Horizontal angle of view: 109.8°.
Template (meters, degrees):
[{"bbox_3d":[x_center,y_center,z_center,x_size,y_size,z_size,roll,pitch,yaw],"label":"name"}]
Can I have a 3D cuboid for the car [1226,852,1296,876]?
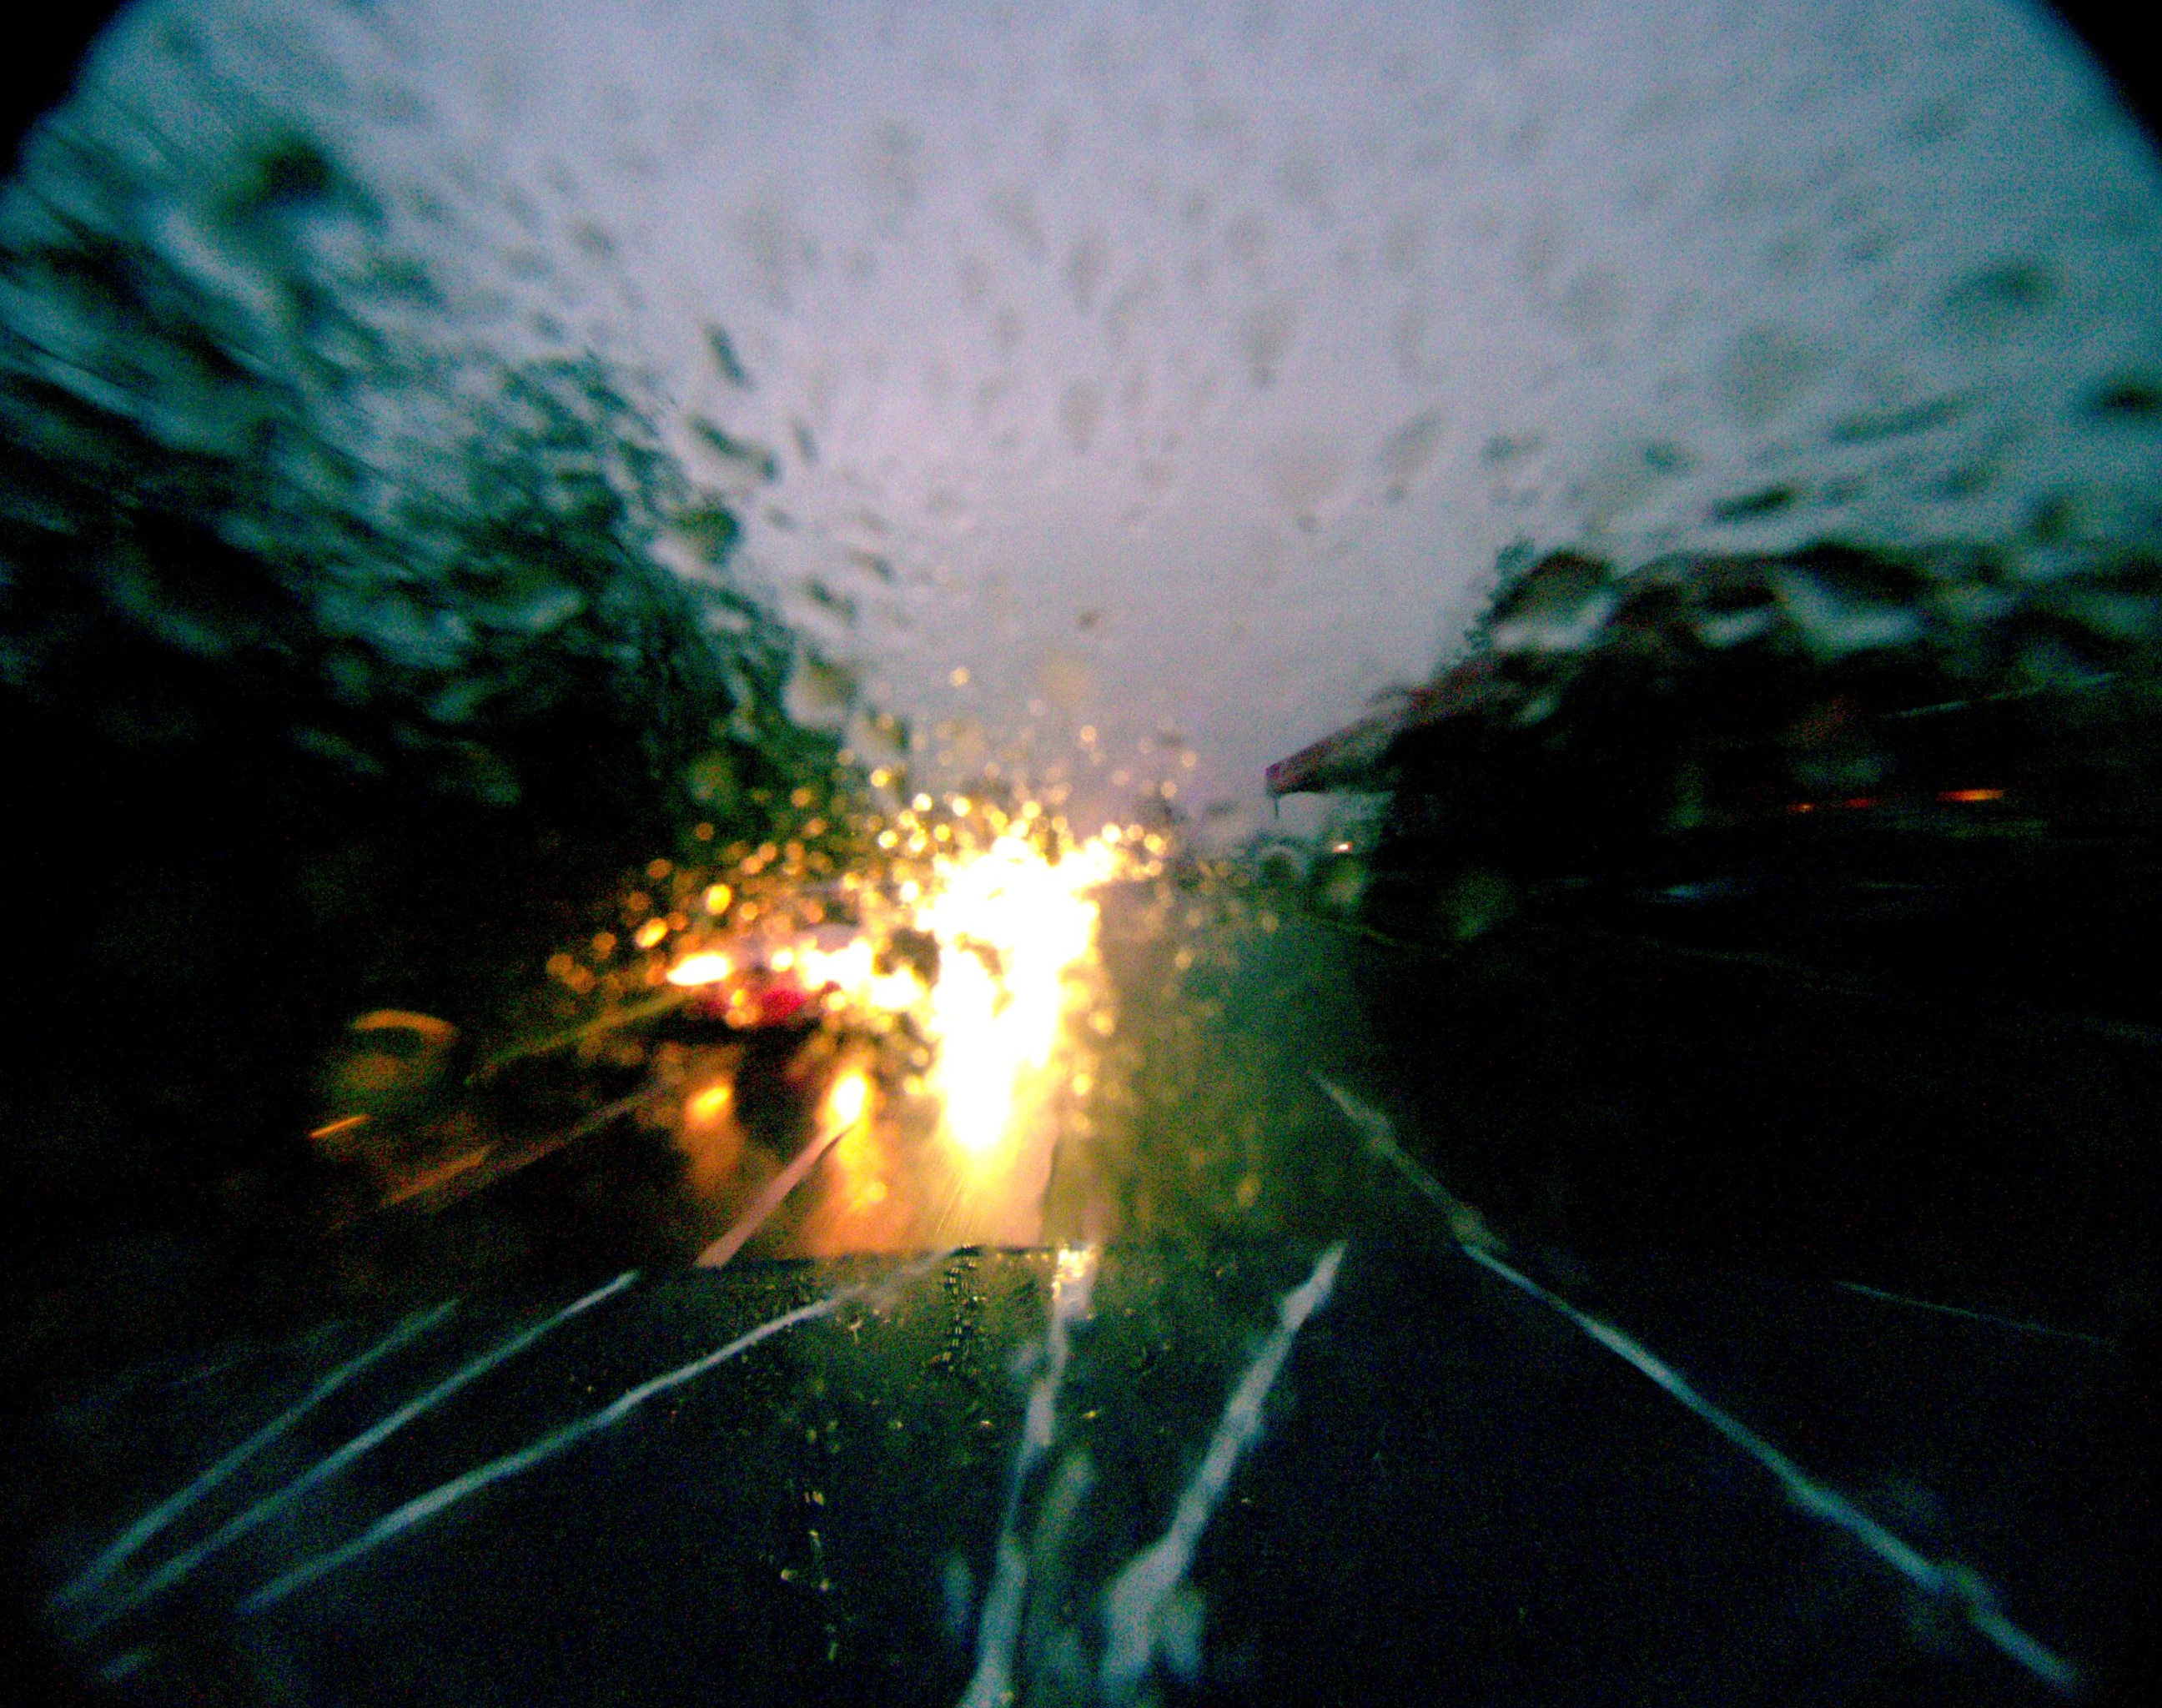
[{"bbox_3d":[11.240,0.612,47.628,3.868,1.338,1.840,-3,0,0],"label":"car"}]

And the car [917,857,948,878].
[{"bbox_3d":[-14.004,1.246,71.957,1.998,1.848,4.298,0,0,0],"label":"car"}]

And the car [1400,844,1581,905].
[{"bbox_3d":[10.892,0.528,20.418,3.868,1.433,1.840,-2,0,0],"label":"car"}]

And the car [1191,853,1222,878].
[{"bbox_3d":[8.046,0.710,49.048,1.522,1.534,3.015,0,0,0],"label":"car"}]

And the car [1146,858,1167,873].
[{"bbox_3d":[7.462,1.092,75.353,1.574,1.314,4.255,0,1,-1],"label":"car"}]

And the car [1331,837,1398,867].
[{"bbox_3d":[20.281,-0.131,54.467,3.997,1.911,1.959,-2,0,1],"label":"car"}]

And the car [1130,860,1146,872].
[{"bbox_3d":[6.957,1.459,92.841,1.655,1.411,3.744,-1,-2,1],"label":"car"}]

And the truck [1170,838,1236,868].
[{"bbox_3d":[13.539,-0.051,84.303,6.877,3.123,2.334,-1,0,-1],"label":"truck"}]

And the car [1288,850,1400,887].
[{"bbox_3d":[10.659,0.568,30.987,3.868,1.338,1.840,-2,0,0],"label":"car"}]

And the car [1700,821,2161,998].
[{"bbox_3d":[10.538,0.596,9.230,4.287,1.653,2.000,-4,0,1],"label":"car"}]

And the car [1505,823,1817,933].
[{"bbox_3d":[10.802,0.422,14.427,4.287,1.653,2.000,-4,0,1],"label":"car"}]

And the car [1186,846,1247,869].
[{"bbox_3d":[11.094,0.299,62.384,4.547,1.666,2.010,-2,0,-3],"label":"car"}]

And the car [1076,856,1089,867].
[{"bbox_3d":[0.254,1.194,117.039,1.890,1.618,4.000,-2,0,-1],"label":"car"}]

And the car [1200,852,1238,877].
[{"bbox_3d":[8.114,0.592,44.955,1.686,1.412,3.741,-1,0,3],"label":"car"}]

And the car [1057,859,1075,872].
[{"bbox_3d":[-1.882,1.332,92.236,2.016,1.484,3.999,-1,0,-4],"label":"car"}]

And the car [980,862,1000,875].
[{"bbox_3d":[-9.772,1.522,81.504,1.576,1.388,4.169,0,0,0],"label":"car"}]

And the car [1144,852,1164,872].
[{"bbox_3d":[7.711,0.809,81.041,1.839,2.001,4.485,-2,0,3],"label":"car"}]

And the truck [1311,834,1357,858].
[{"bbox_3d":[30.763,-0.930,92.536,4.726,2.681,2.232,-2,0,-13],"label":"truck"}]

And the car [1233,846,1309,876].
[{"bbox_3d":[11.274,0.428,45.229,4.056,1.640,1.942,-1,0,3],"label":"car"}]

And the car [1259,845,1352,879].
[{"bbox_3d":[10.729,0.395,36.551,3.868,1.401,1.944,-3,0,0],"label":"car"}]

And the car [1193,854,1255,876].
[{"bbox_3d":[10.759,0.826,57.445,4.346,1.489,1.826,-2,0,1],"label":"car"}]

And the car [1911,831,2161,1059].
[{"bbox_3d":[10.491,0.619,6.517,4.287,1.653,2.137,-4,0,1],"label":"car"}]

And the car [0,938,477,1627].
[{"bbox_3d":[-3.423,1.112,1.019,1.706,1.463,4.272,-2,0,1],"label":"car"}]

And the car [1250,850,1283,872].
[{"bbox_3d":[14.883,0.559,61.064,1.673,1.666,3.706,-1,0,-1],"label":"car"}]

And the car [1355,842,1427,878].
[{"bbox_3d":[14.956,0.301,36.845,1.872,1.545,4.045,-3,-1,2],"label":"car"}]

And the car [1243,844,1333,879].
[{"bbox_3d":[10.593,0.386,39.041,4.041,1.545,1.824,-3,-1,0],"label":"car"}]

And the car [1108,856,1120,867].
[{"bbox_3d":[4.839,1.069,110.789,1.607,1.525,4.000,0,0,0],"label":"car"}]

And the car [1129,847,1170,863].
[{"bbox_3d":[8.832,0.131,98.029,5.159,2.137,2.059,0,0,1],"label":"car"}]

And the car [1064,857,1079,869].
[{"bbox_3d":[-1.328,1.224,104.045,1.889,1.618,4.000,-2,0,1],"label":"car"}]

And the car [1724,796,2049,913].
[{"bbox_3d":[14.759,0.005,14.322,1.891,1.858,4.000,-1,0,0],"label":"car"}]

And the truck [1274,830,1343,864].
[{"bbox_3d":[32.022,-0.938,107.089,8.714,4.236,3.004,-3,1,-10],"label":"truck"}]

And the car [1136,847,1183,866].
[{"bbox_3d":[10.568,0.350,102.849,6.171,2.616,2.176,0,0,1],"label":"car"}]

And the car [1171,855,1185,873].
[{"bbox_3d":[9.161,0.931,71.445,1.174,1.634,2.872,-1,0,9],"label":"car"}]

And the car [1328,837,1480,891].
[{"bbox_3d":[10.838,0.333,25.745,4.291,1.647,1.980,-2,0,0],"label":"car"}]

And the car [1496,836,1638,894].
[{"bbox_3d":[15.309,0.327,24.255,1.893,1.647,4.148,-2,0,1],"label":"car"}]

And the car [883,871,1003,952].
[{"bbox_3d":[-2.877,1.151,16.844,1.645,1.358,4.769,-2,0,1],"label":"car"}]

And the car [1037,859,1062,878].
[{"bbox_3d":[-2.674,1.210,63.917,2.016,1.484,3.999,-2,0,-4],"label":"car"}]

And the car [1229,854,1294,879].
[{"bbox_3d":[11.828,0.833,49.982,3.782,1.451,1.776,-3,0,-2],"label":"car"}]

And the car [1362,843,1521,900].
[{"bbox_3d":[10.780,0.506,22.917,3.868,1.550,1.840,-2,0,0],"label":"car"}]

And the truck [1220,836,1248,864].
[{"bbox_3d":[19.464,-0.445,96.736,2.036,3.434,5.851,1,-1,-3],"label":"truck"}]

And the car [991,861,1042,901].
[{"bbox_3d":[-2.741,1.125,33.260,1.712,1.566,4.464,-1,0,1],"label":"car"}]

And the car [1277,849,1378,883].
[{"bbox_3d":[10.949,0.523,33.950,3.868,1.397,1.840,-2,0,0],"label":"car"}]

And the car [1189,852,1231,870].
[{"bbox_3d":[13.831,0.729,81.494,4.060,1.722,2.024,-2,0,-3],"label":"car"}]

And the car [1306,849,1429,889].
[{"bbox_3d":[10.606,0.552,28.329,3.868,1.338,1.840,-2,0,0],"label":"car"}]

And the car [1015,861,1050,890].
[{"bbox_3d":[-2.713,1.179,43.285,1.569,1.520,4.007,-2,0,1],"label":"car"}]

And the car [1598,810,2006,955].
[{"bbox_3d":[10.862,0.410,11.739,4.287,1.753,2.000,-4,0,1],"label":"car"}]

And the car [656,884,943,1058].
[{"bbox_3d":[-2.873,1.122,8.845,1.657,1.328,4.272,-2,0,1],"label":"car"}]

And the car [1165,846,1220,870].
[{"bbox_3d":[12.889,0.455,88.081,6.047,2.623,2.196,-1,0,-1],"label":"car"}]
